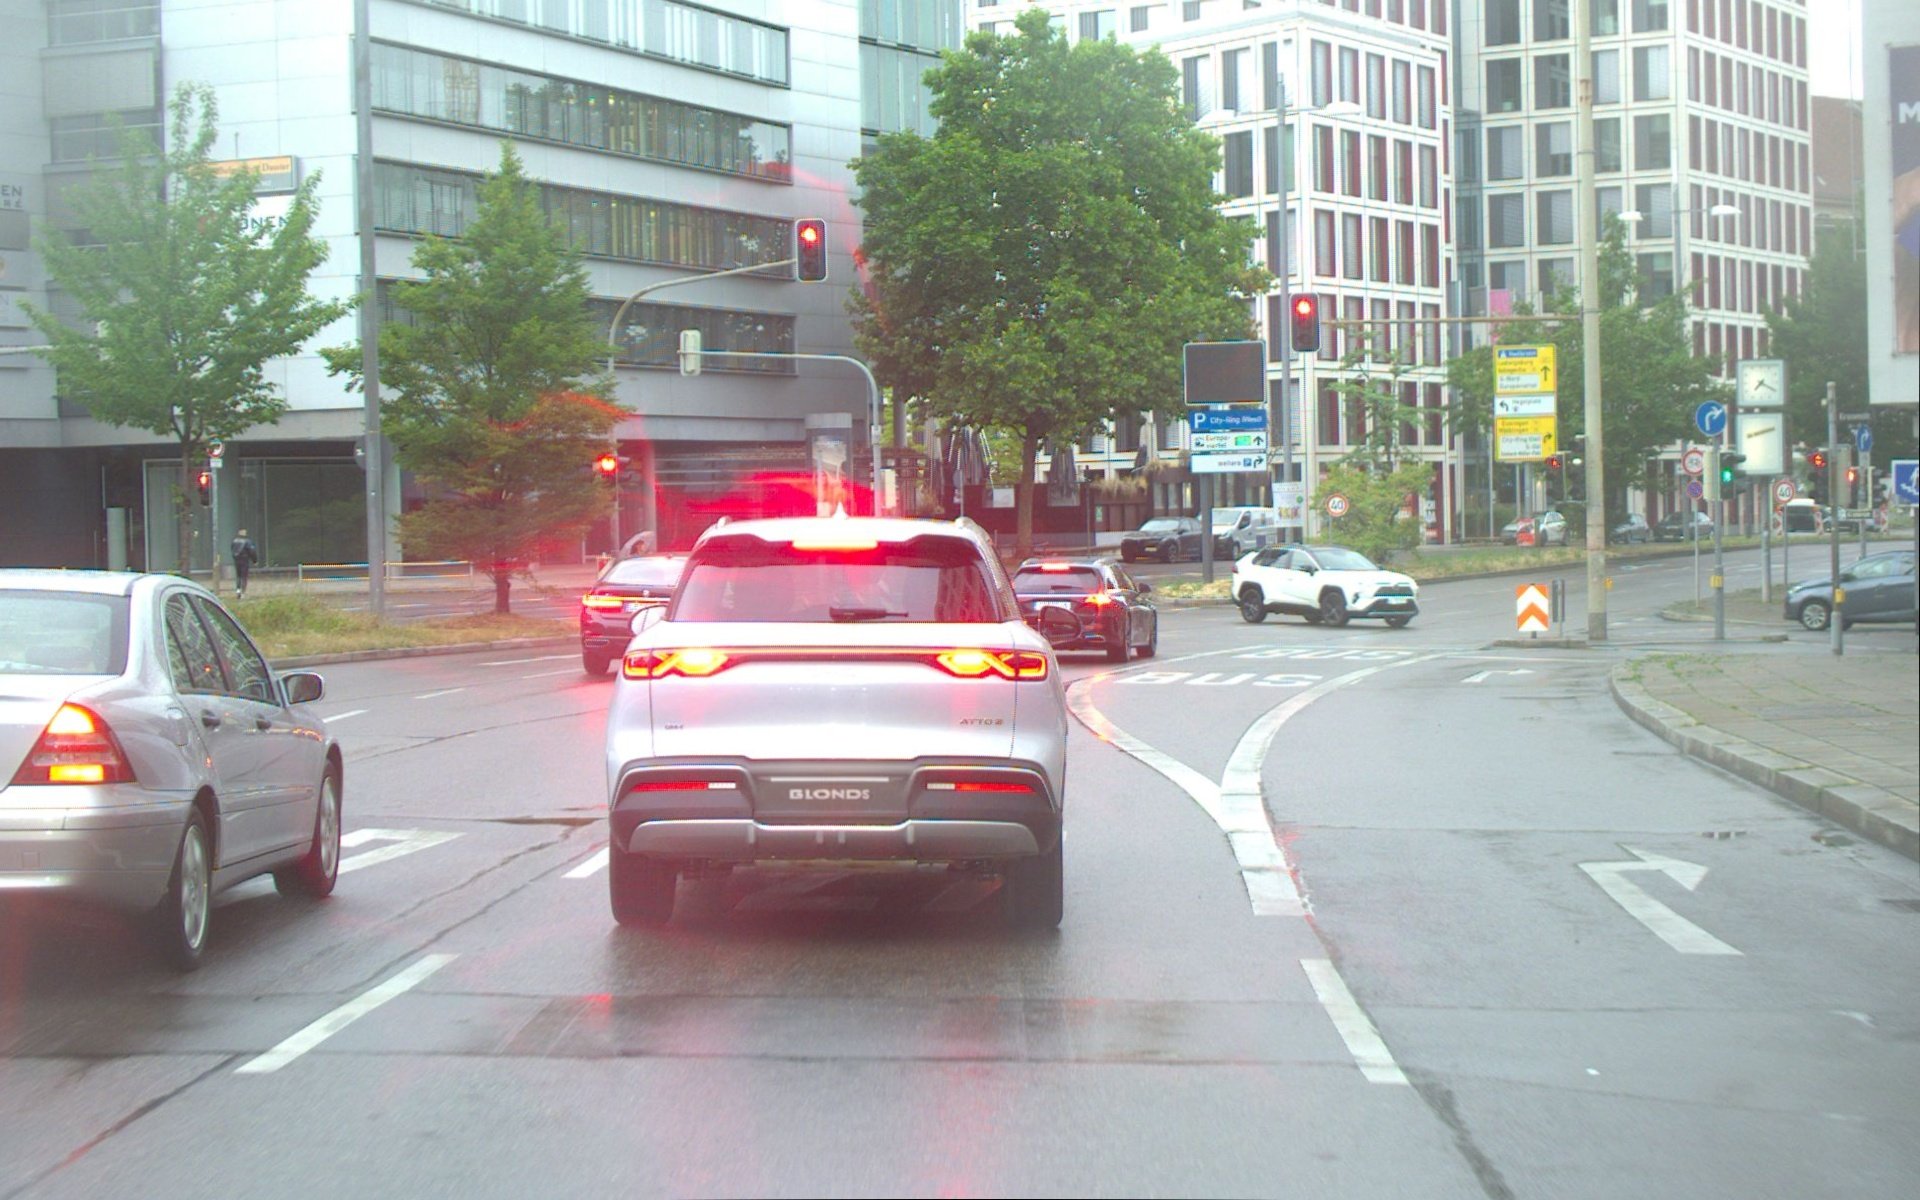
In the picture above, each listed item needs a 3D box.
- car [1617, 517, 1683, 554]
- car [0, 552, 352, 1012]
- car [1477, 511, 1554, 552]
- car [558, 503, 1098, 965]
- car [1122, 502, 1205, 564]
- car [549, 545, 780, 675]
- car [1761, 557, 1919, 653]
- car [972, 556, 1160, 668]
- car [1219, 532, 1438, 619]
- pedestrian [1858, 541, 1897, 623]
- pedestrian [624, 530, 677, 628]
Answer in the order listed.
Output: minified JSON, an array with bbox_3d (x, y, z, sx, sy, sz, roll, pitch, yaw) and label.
[{"bbox_3d":[34.243,-3.212,170.561,1.997,1.700,4.302,1,3,29],"label":"car"},{"bbox_3d":[-3.565,0.561,13.221,1.682,1.481,4.196,0,1,0],"label":"car"},{"bbox_3d":[24.595,-3.056,152.172,1.997,1.700,4.302,1,3,29],"label":"car"},{"bbox_3d":[-0.547,0.458,14.962,1.993,1.703,4.483,0,1,-2],"label":"car"},{"bbox_3d":[7.355,-2.386,123.748,1.739,2.154,4.489,1,1,20],"label":"car"},{"bbox_3d":[-3.625,0.089,42.823,1.956,1.525,3.999,0,1,9],"label":"car"},{"bbox_3d":[18.038,0.089,66.904,4.349,1.759,2.050,2,1,29],"label":"car"},{"bbox_3d":[1.571,0.133,49.382,1.956,1.525,3.998,0,1,13],"label":"car"},{"bbox_3d":[7.576,-0.534,71.059,1.994,1.744,4.530,-1,1,-36],"label":"car"},{"bbox_3d":[18.734,-0.374,70.207,0.728,1.663,0.690,0,0,18],"label":"pedestrian"},{"bbox_3d":[-5.508,-0.381,61.224,0.922,1.732,0.730,0,1,-3],"label":"pedestrian"}]
